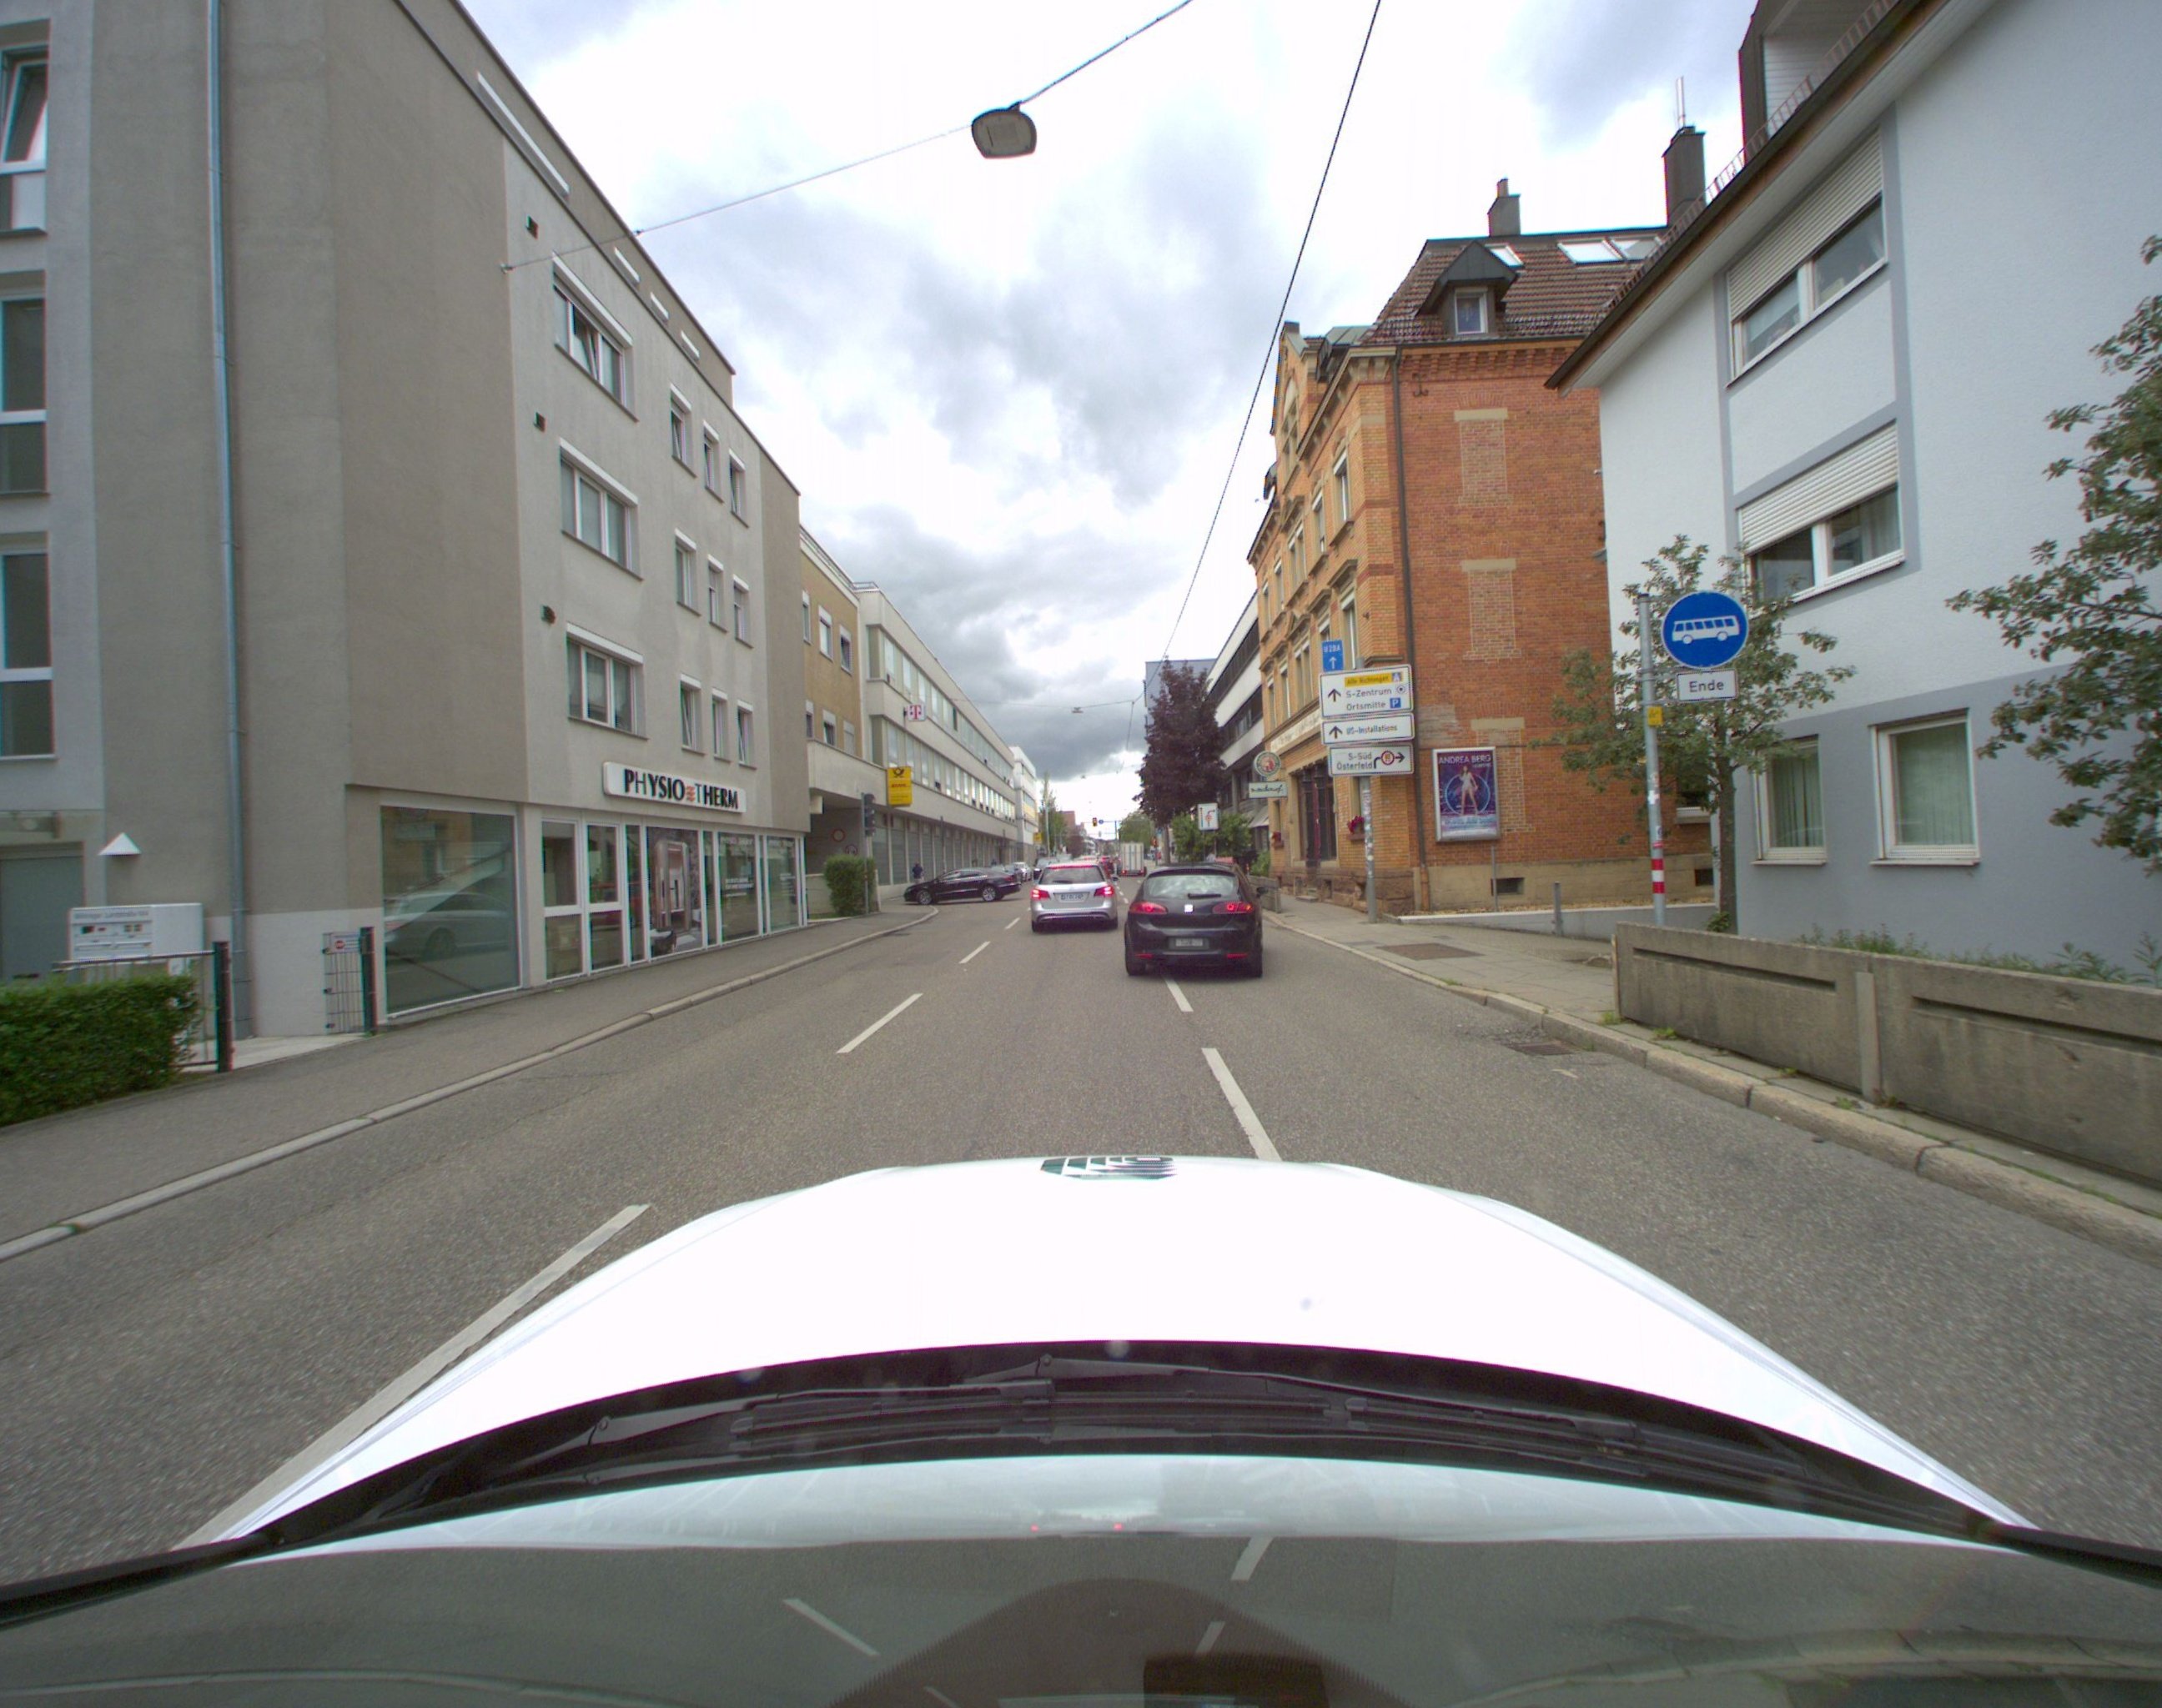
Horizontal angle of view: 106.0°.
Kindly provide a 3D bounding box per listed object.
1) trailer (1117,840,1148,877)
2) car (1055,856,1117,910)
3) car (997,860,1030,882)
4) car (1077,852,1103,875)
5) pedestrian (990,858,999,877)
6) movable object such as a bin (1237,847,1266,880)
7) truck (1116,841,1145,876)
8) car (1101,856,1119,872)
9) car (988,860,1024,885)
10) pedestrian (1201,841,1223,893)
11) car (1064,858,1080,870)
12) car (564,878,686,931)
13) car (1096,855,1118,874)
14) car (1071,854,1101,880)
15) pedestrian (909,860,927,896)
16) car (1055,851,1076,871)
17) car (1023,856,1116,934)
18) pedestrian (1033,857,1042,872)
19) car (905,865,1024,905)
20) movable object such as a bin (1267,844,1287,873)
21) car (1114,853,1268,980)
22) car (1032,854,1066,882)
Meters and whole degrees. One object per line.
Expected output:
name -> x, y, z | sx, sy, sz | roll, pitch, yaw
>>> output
trailer -> 3.824, 0.322, 61.260 | 1.987, 2.607, 5.349 | -3, 0, 1
car -> 0.174, 0.876, 26.306 | 1.797, 1.553, 3.738 | -3, 0, 1
car -> -5.007, 1.227, 61.138 | 1.987, 1.517, 4.175 | -3, 0, 1
car -> 0.646, 0.709, 59.770 | 1.797, 1.601, 3.738 | -1, 0, 1
pedestrian -> -7.649, 1.161, 71.955 | 0.653, 1.623, 0.681 | -3, 0, 2
movable object such as a bin -> 8.186, 0.465, 39.180 | 0.940, 1.470, 1.445 | -4, -1, -1
truck -> 3.868, 0.320, 64.024 | 1.987, 2.607, 3.260 | -3, 0, 1
car -> 3.063, 0.992, 86.029 | 1.797, 1.601, 3.738 | -1, 0, 1
car -> -5.062, 1.225, 55.421 | 1.987, 1.517, 4.175 | -3, 0, 1
pedestrian -> 5.183, 0.511, 32.214 | 0.691, 2.013, 0.676 | -3, 0, 0
car -> -1.152, 1.217, 103.002 | 1.763, 1.413, 4.175 | -4, 0, 1
car -> -14.651, 1.580, 26.419 | 1.747, 1.457, 3.692 | -1, -1, 2
car -> 2.320, 0.926, 73.407 | 1.797, 1.601, 3.738 | -1, 0, 1
car -> 0.324, 0.809, 51.945 | 1.797, 1.601, 3.738 | -1, 0, 1
pedestrian -> -8.077, 1.181, 40.426 | 0.640, 1.769, 0.810 | -2, 0, 0
car -> -1.602, 0.739, 86.842 | 1.987, 2.013, 4.903 | -4, 0, 1
car -> -0.195, 0.824, 18.173 | 1.797, 1.492, 3.738 | -3, 0, 1
pedestrian -> -5.267, 1.273, 98.843 | 0.915, 1.869, 0.783 | -3, 0, 0
car -> -4.691, 1.250, 33.080 | 4.374, 1.365, 1.789 | -2, 0, 7
movable object such as a bin -> 10.424, 0.247, 43.292 | 0.818, 1.504, 0.732 | -5, -2, 2
car -> 1.676, 0.752, 11.556 | 1.754, 1.433, 3.841 | -2, 0, 12
car -> -2.173, 0.959, 56.724 | 1.987, 1.738, 4.554 | -4, 0, 1
